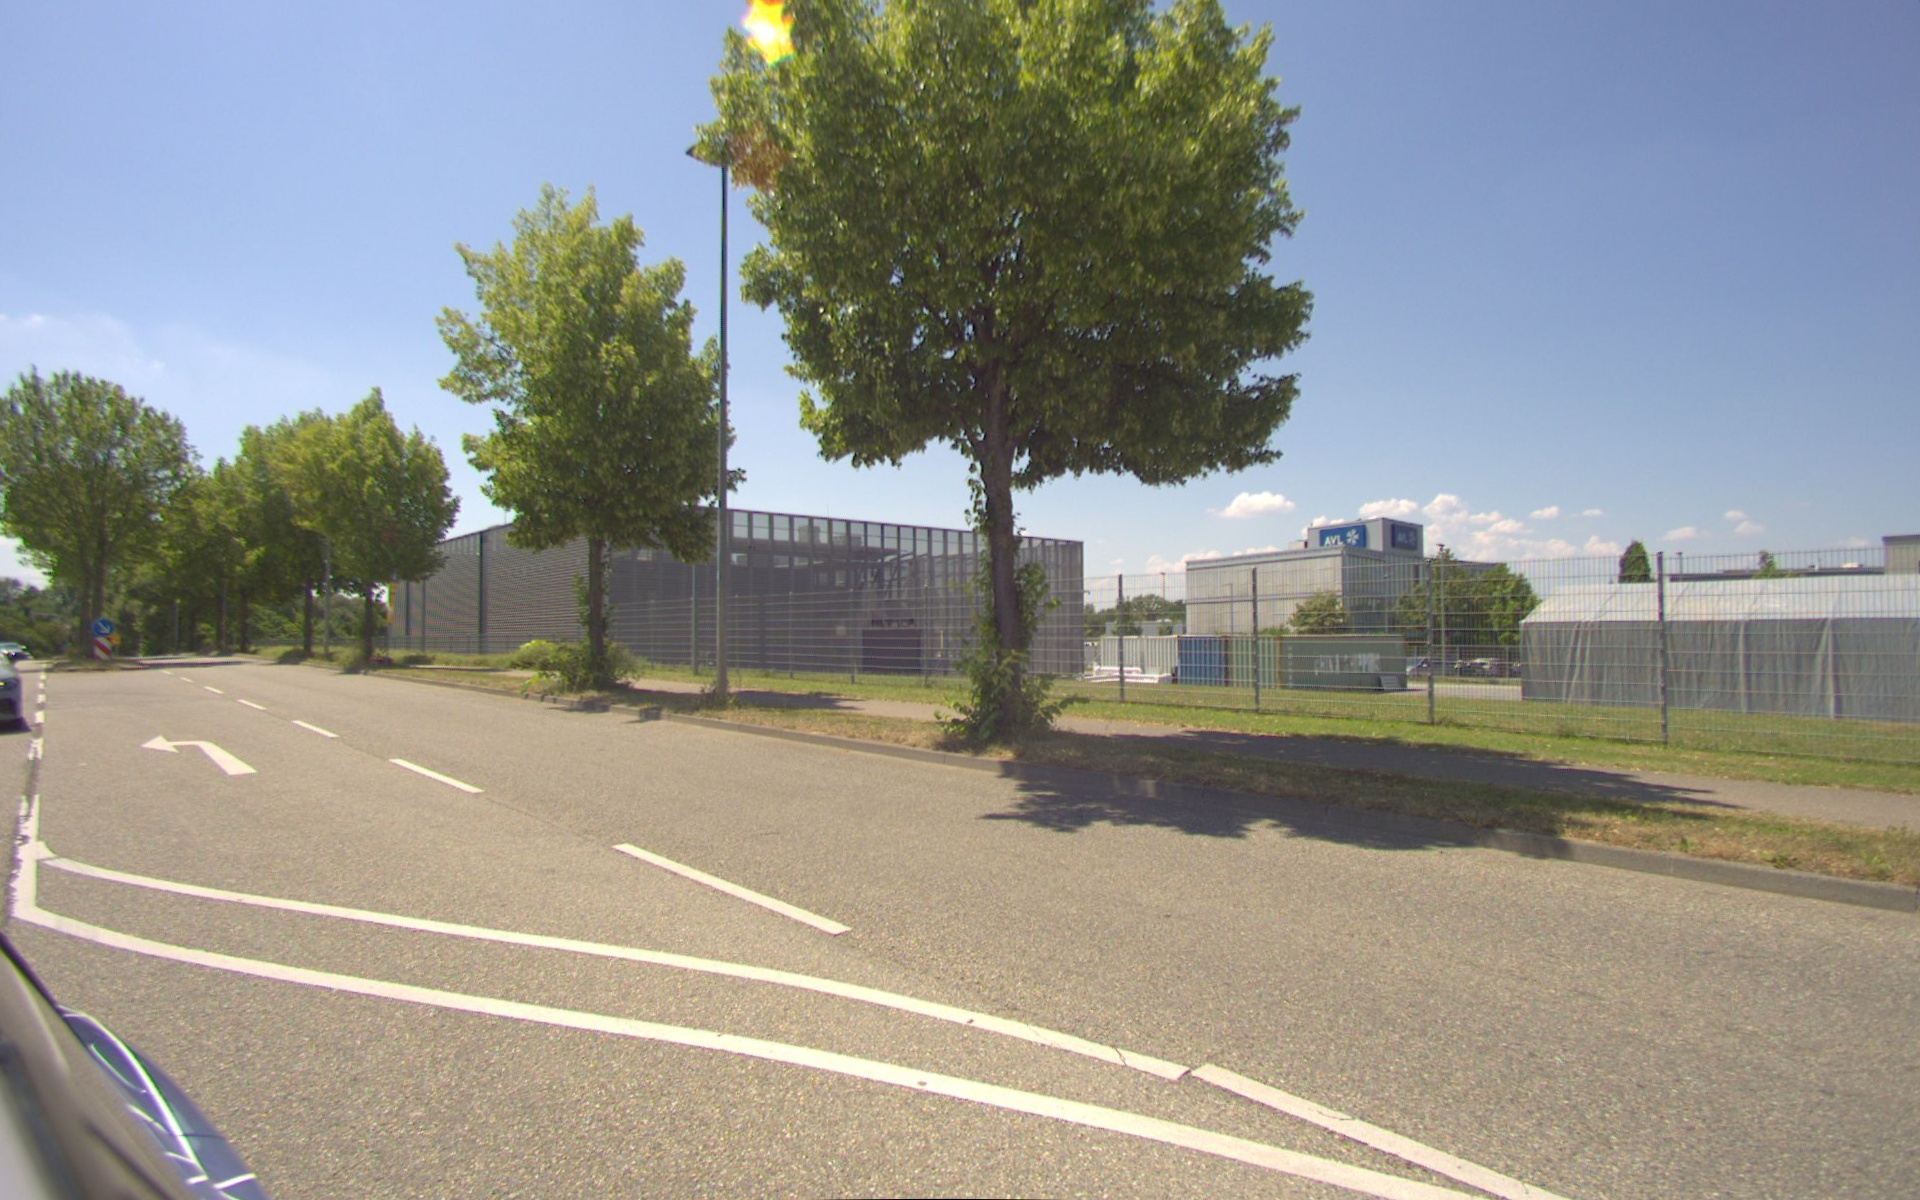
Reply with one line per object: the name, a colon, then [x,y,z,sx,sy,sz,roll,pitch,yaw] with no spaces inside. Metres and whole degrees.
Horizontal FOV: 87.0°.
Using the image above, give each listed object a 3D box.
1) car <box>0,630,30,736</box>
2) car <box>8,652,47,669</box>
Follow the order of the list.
car: [-15.389,1.233,15.152,1.893,1.453,4.489,-2,-1,-40]
car: [-98.574,6.409,106.963,3.850,1.720,1.979,-2,-4,31]
